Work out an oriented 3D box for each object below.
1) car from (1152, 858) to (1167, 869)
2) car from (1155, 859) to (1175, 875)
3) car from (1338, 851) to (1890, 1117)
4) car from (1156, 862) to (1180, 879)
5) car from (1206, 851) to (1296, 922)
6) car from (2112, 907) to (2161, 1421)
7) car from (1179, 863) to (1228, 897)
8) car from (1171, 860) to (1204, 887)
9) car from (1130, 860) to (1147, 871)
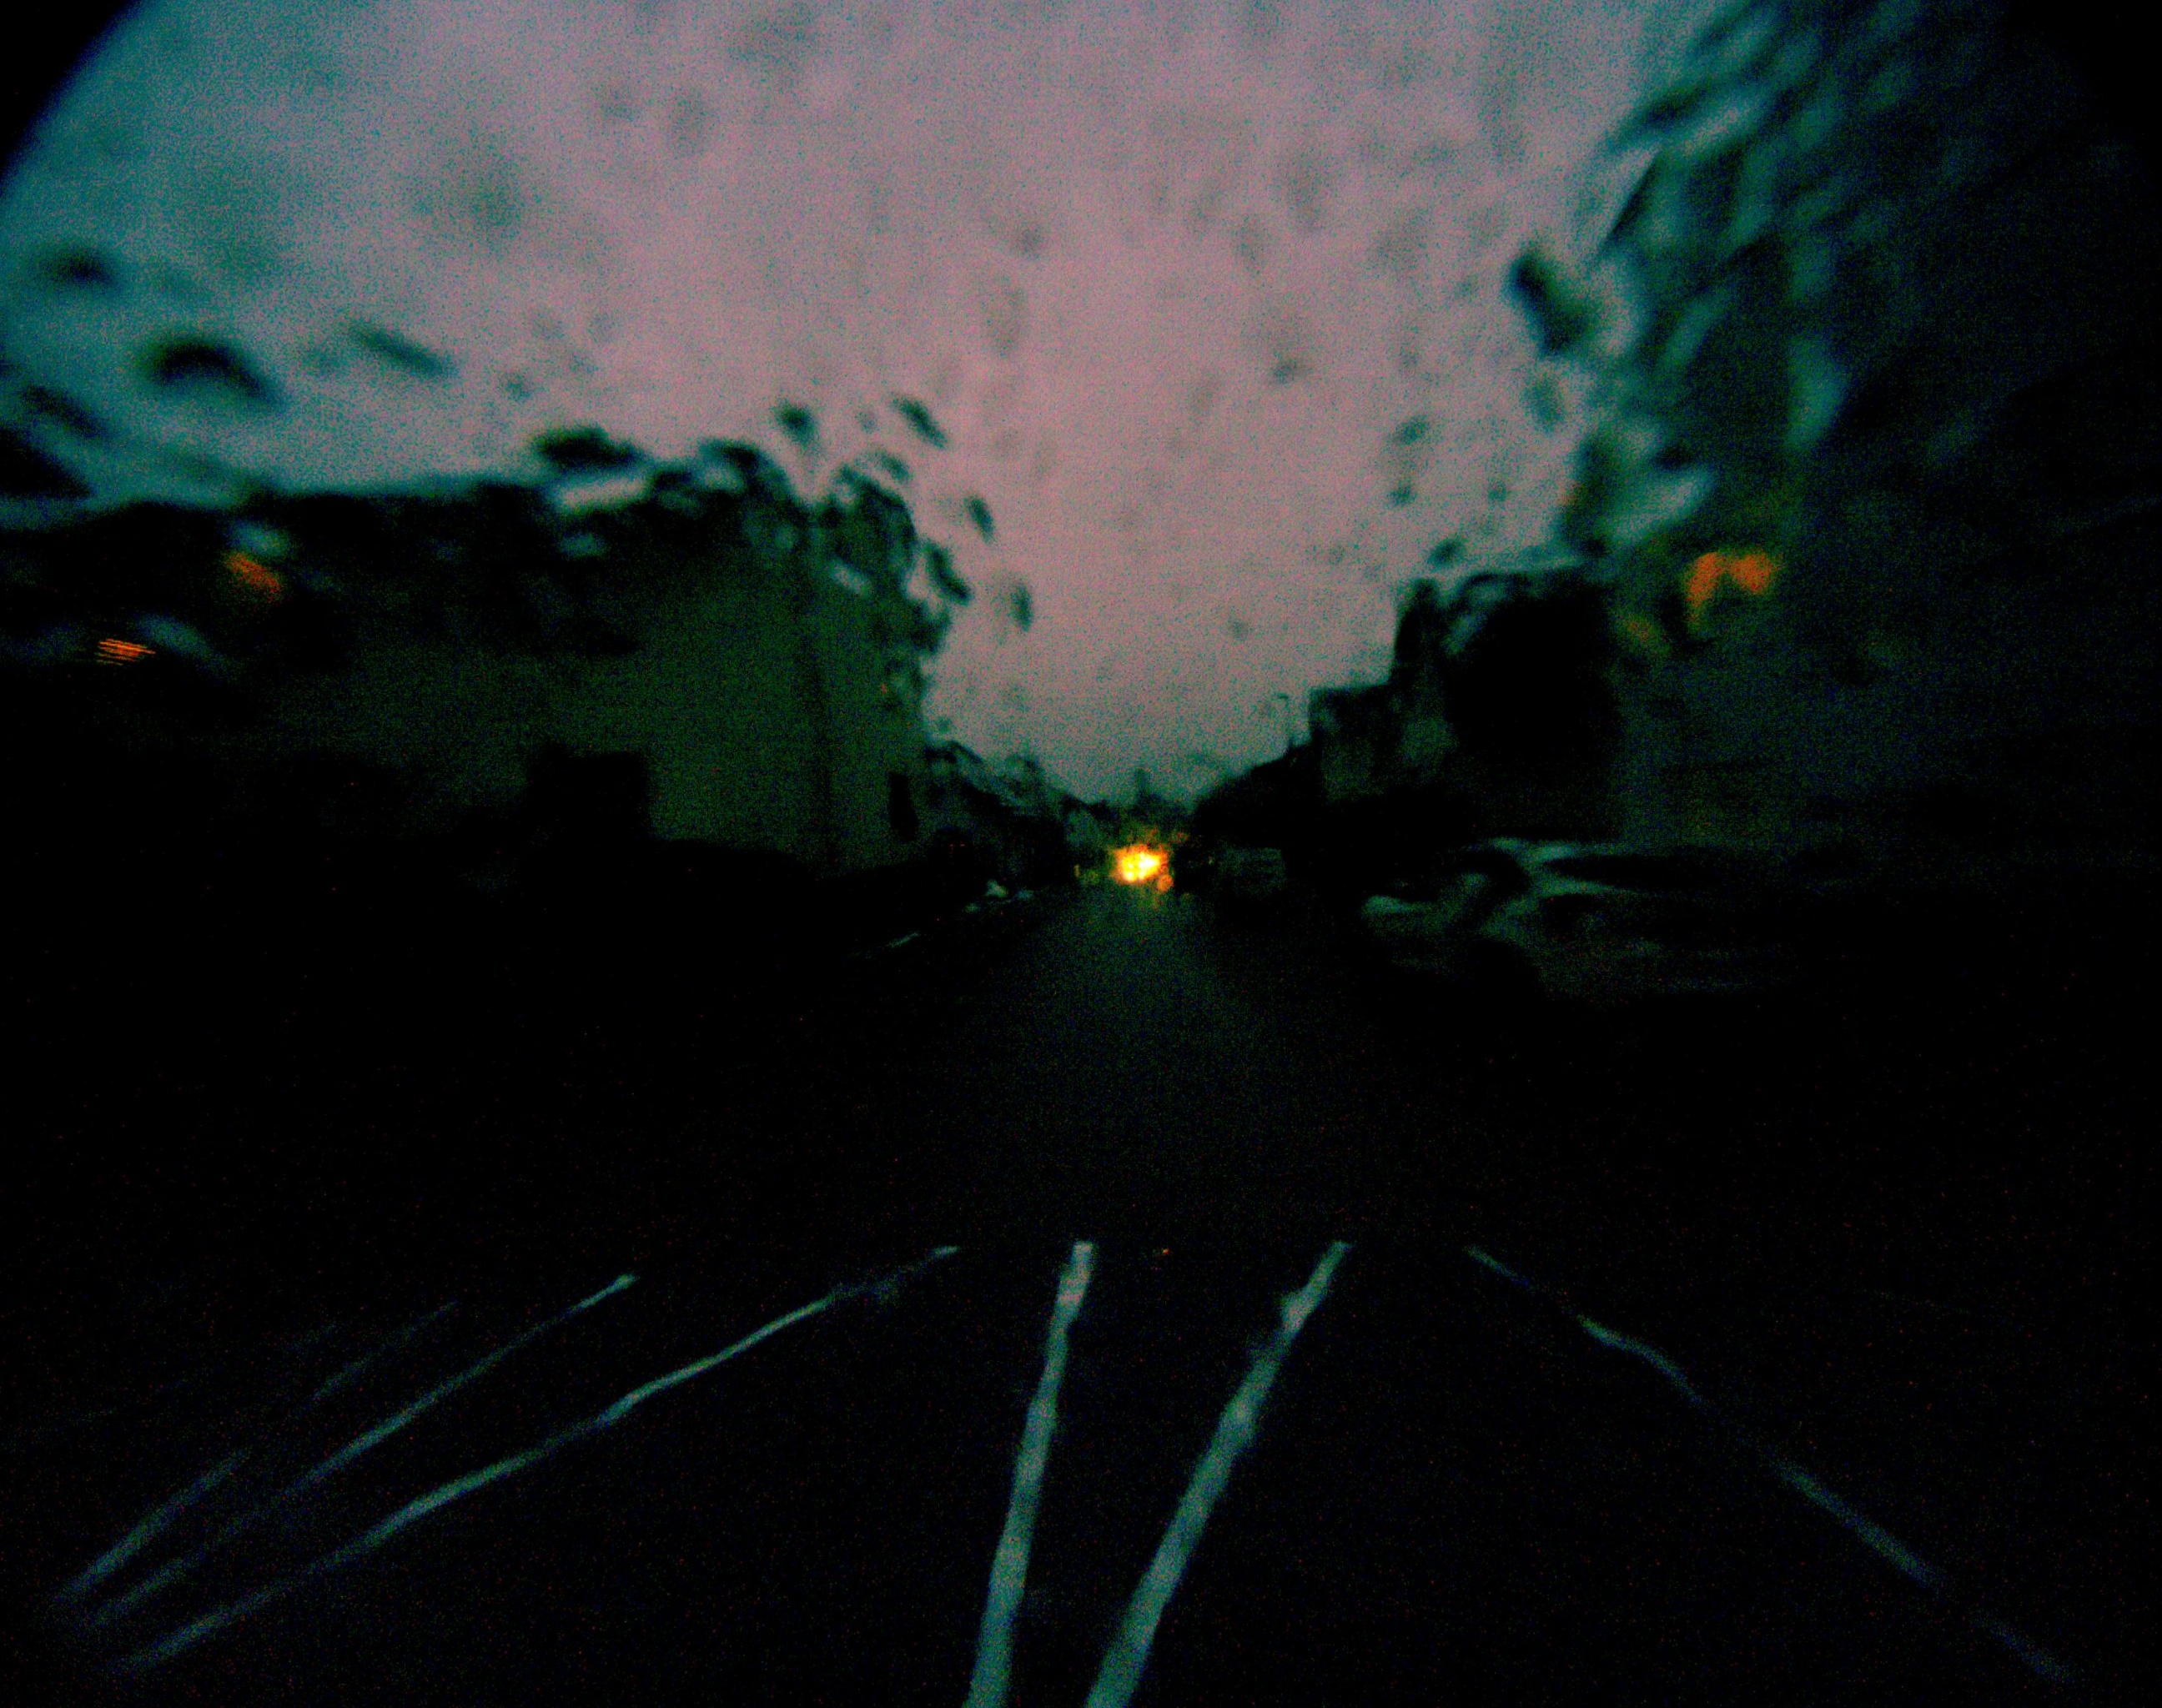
[{"bbox_3d":[12.702,1.505,122.887,1.793,1.764,3.892,-1,0,13],"label":"car"},{"bbox_3d":[8.995,1.330,81.736,1.720,1.616,3.731,-1,0,1],"label":"car"},{"bbox_3d":[4.056,0.801,6.921,1.923,1.615,4.422,-1,0,0],"label":"car"},{"bbox_3d":[7.884,1.459,69.094,1.720,1.403,3.731,-1,0,1],"label":"car"},{"bbox_3d":[4.660,0.836,21.375,1.775,1.782,4.130,-1,0,3],"label":"car"},{"bbox_3d":[3.937,0.861,0.228,1.738,1.428,4.033,-1,0,-2],"label":"car"},{"bbox_3d":[5.581,1.142,34.954,1.829,1.457,4.001,0,0,3],"label":"car"},{"bbox_3d":[6.519,1.164,46.817,1.766,1.543,4.001,0,0,4],"label":"car"},{"bbox_3d":[7.969,1.581,105.108,1.754,1.487,4.254,-1,0,13],"label":"car"}]
